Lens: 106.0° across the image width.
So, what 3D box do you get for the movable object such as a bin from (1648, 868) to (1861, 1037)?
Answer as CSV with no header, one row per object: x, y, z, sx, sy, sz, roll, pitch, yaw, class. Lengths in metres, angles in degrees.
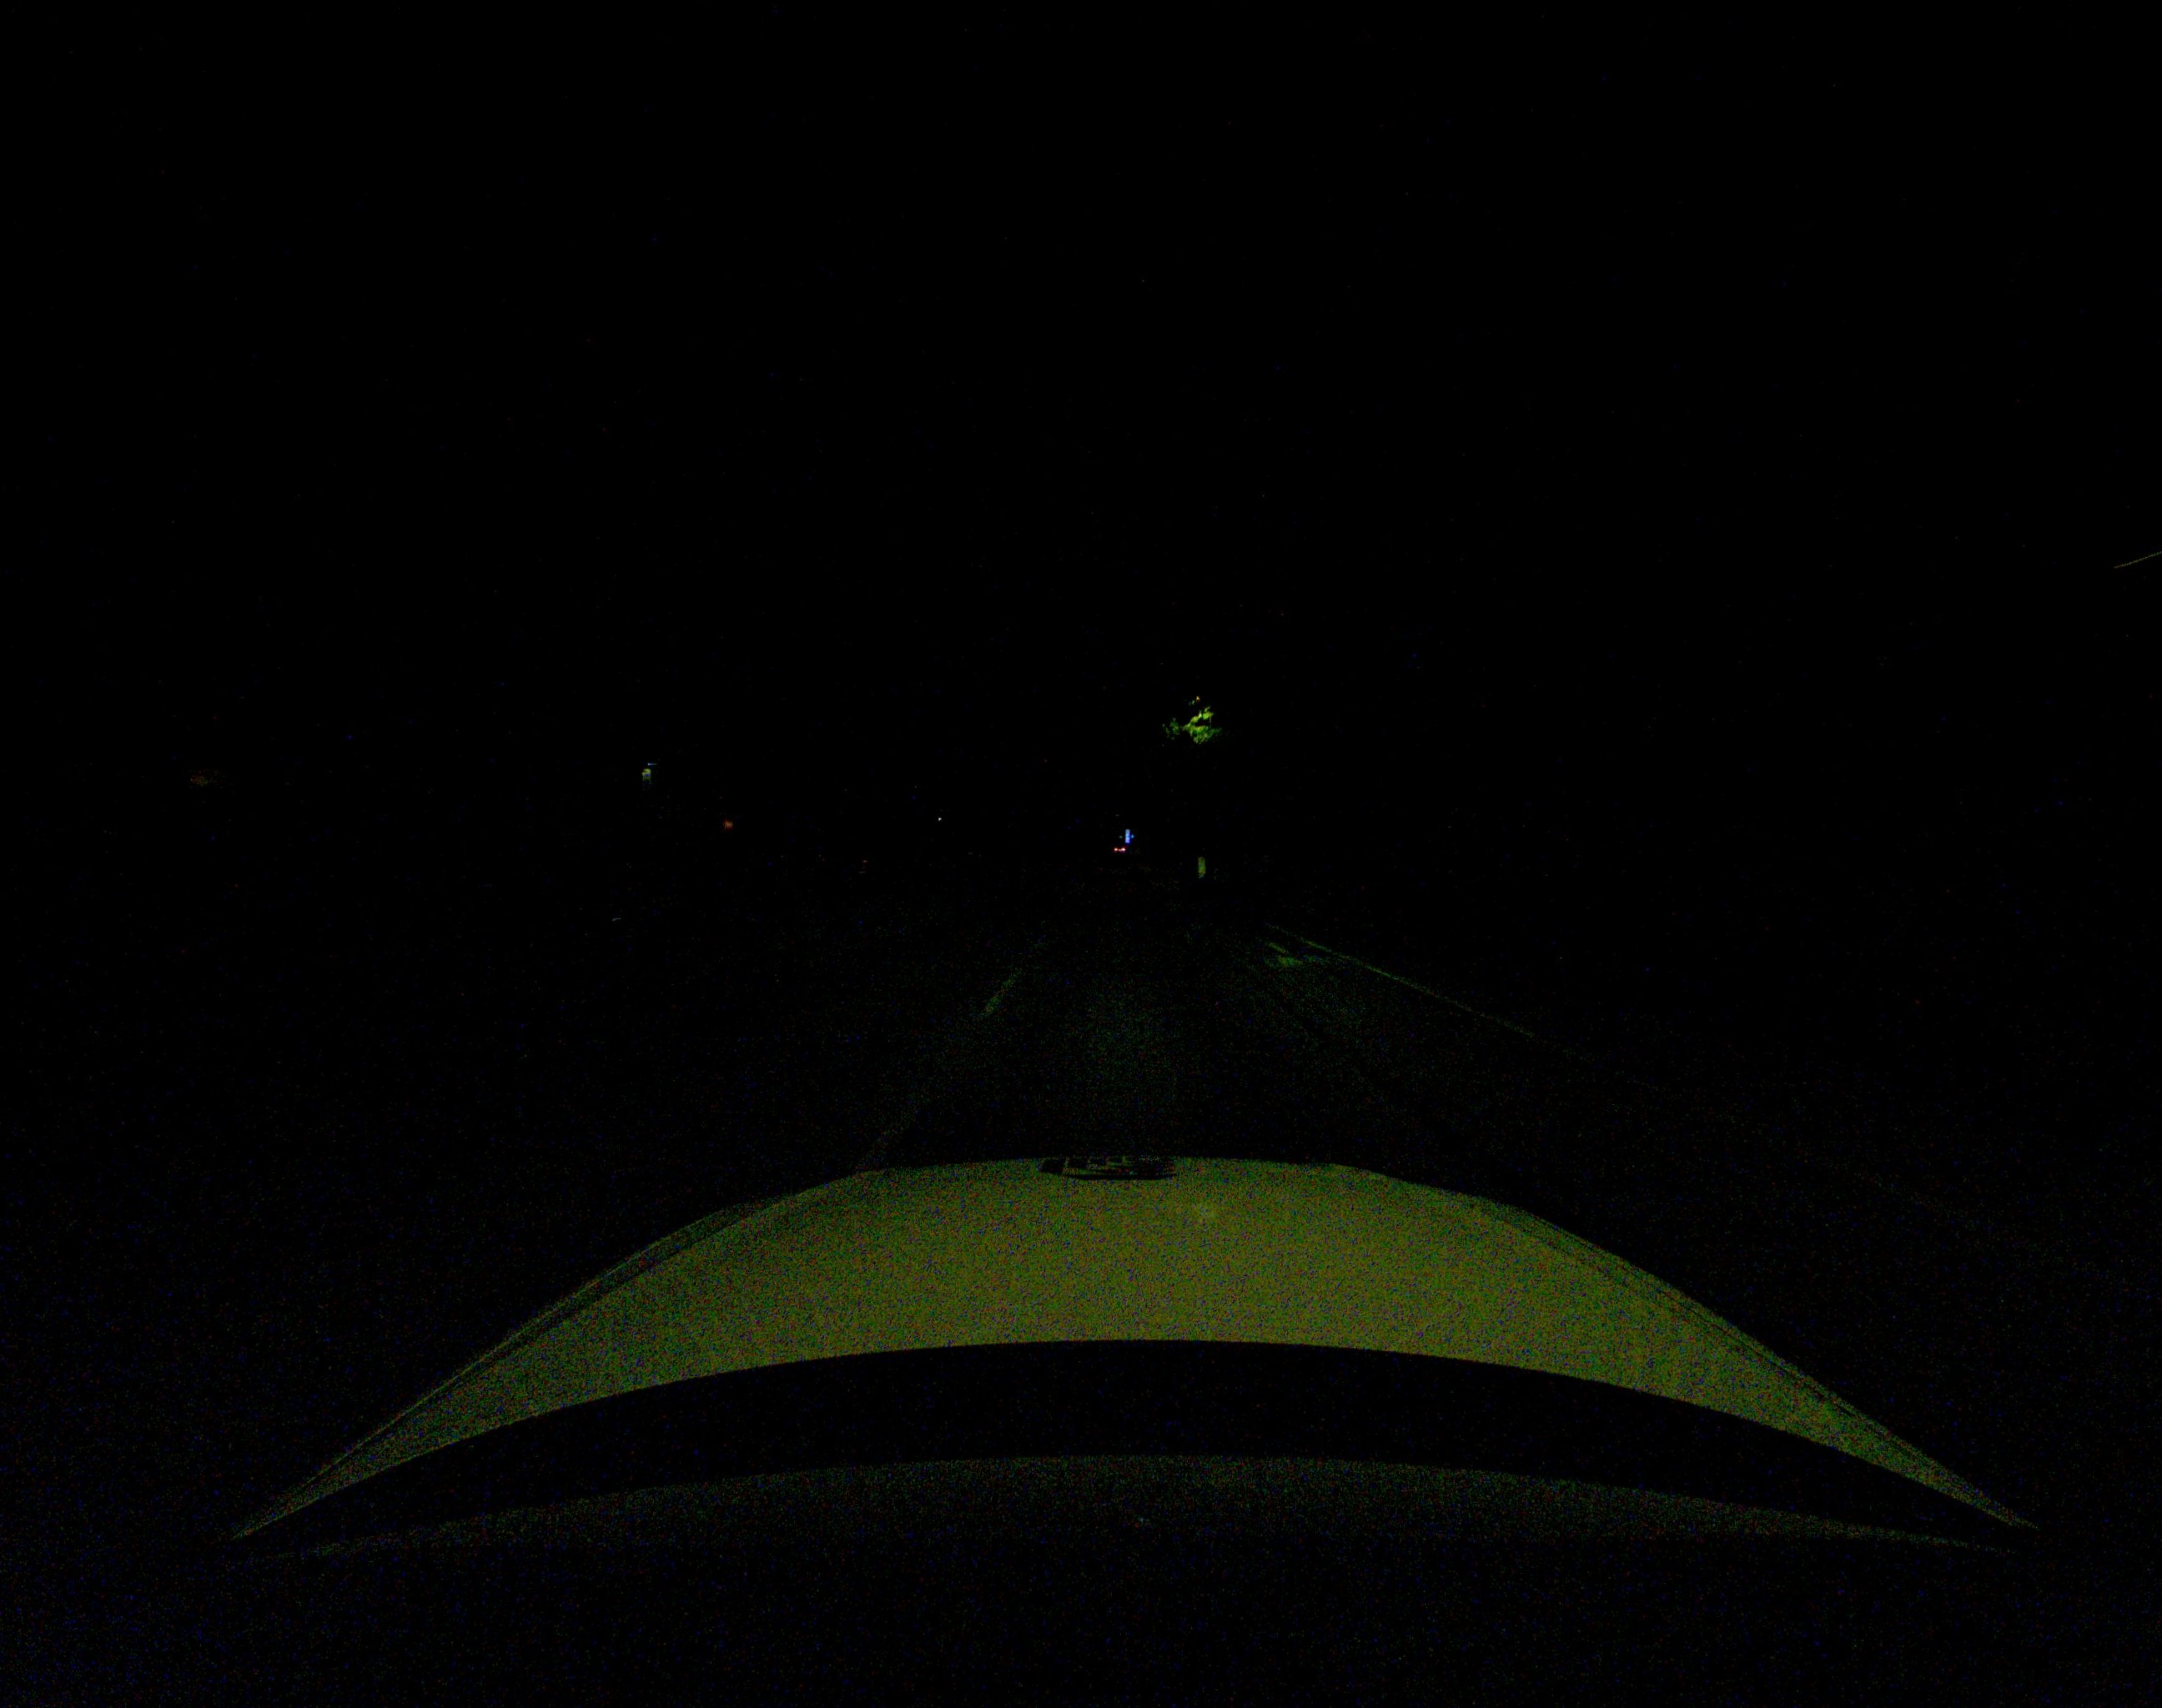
4.869,0.675,5.954,0.853,1.119,0.841,-1,0,4,movable object such as a bin

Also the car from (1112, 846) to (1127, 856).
6.744,-0.526,141.417,2.149,1.583,4.023,-1,-1,8,car

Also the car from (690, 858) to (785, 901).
-14.600,1.035,34.974,1.987,1.628,4.677,-2,0,1,car

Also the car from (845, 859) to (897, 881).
-14.006,1.034,54.730,1.987,1.338,5.432,-2,0,1,car

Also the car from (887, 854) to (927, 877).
-12.940,0.838,60.797,1.987,1.530,4.001,-2,0,1,car

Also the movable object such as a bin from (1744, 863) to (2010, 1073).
4.889,0.659,5.077,0.830,1.181,0.829,-1,0,4,movable object such as a bin

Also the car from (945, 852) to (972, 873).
-12.834,0.871,85.562,2.084,2.013,4.001,-6,0,1,car
